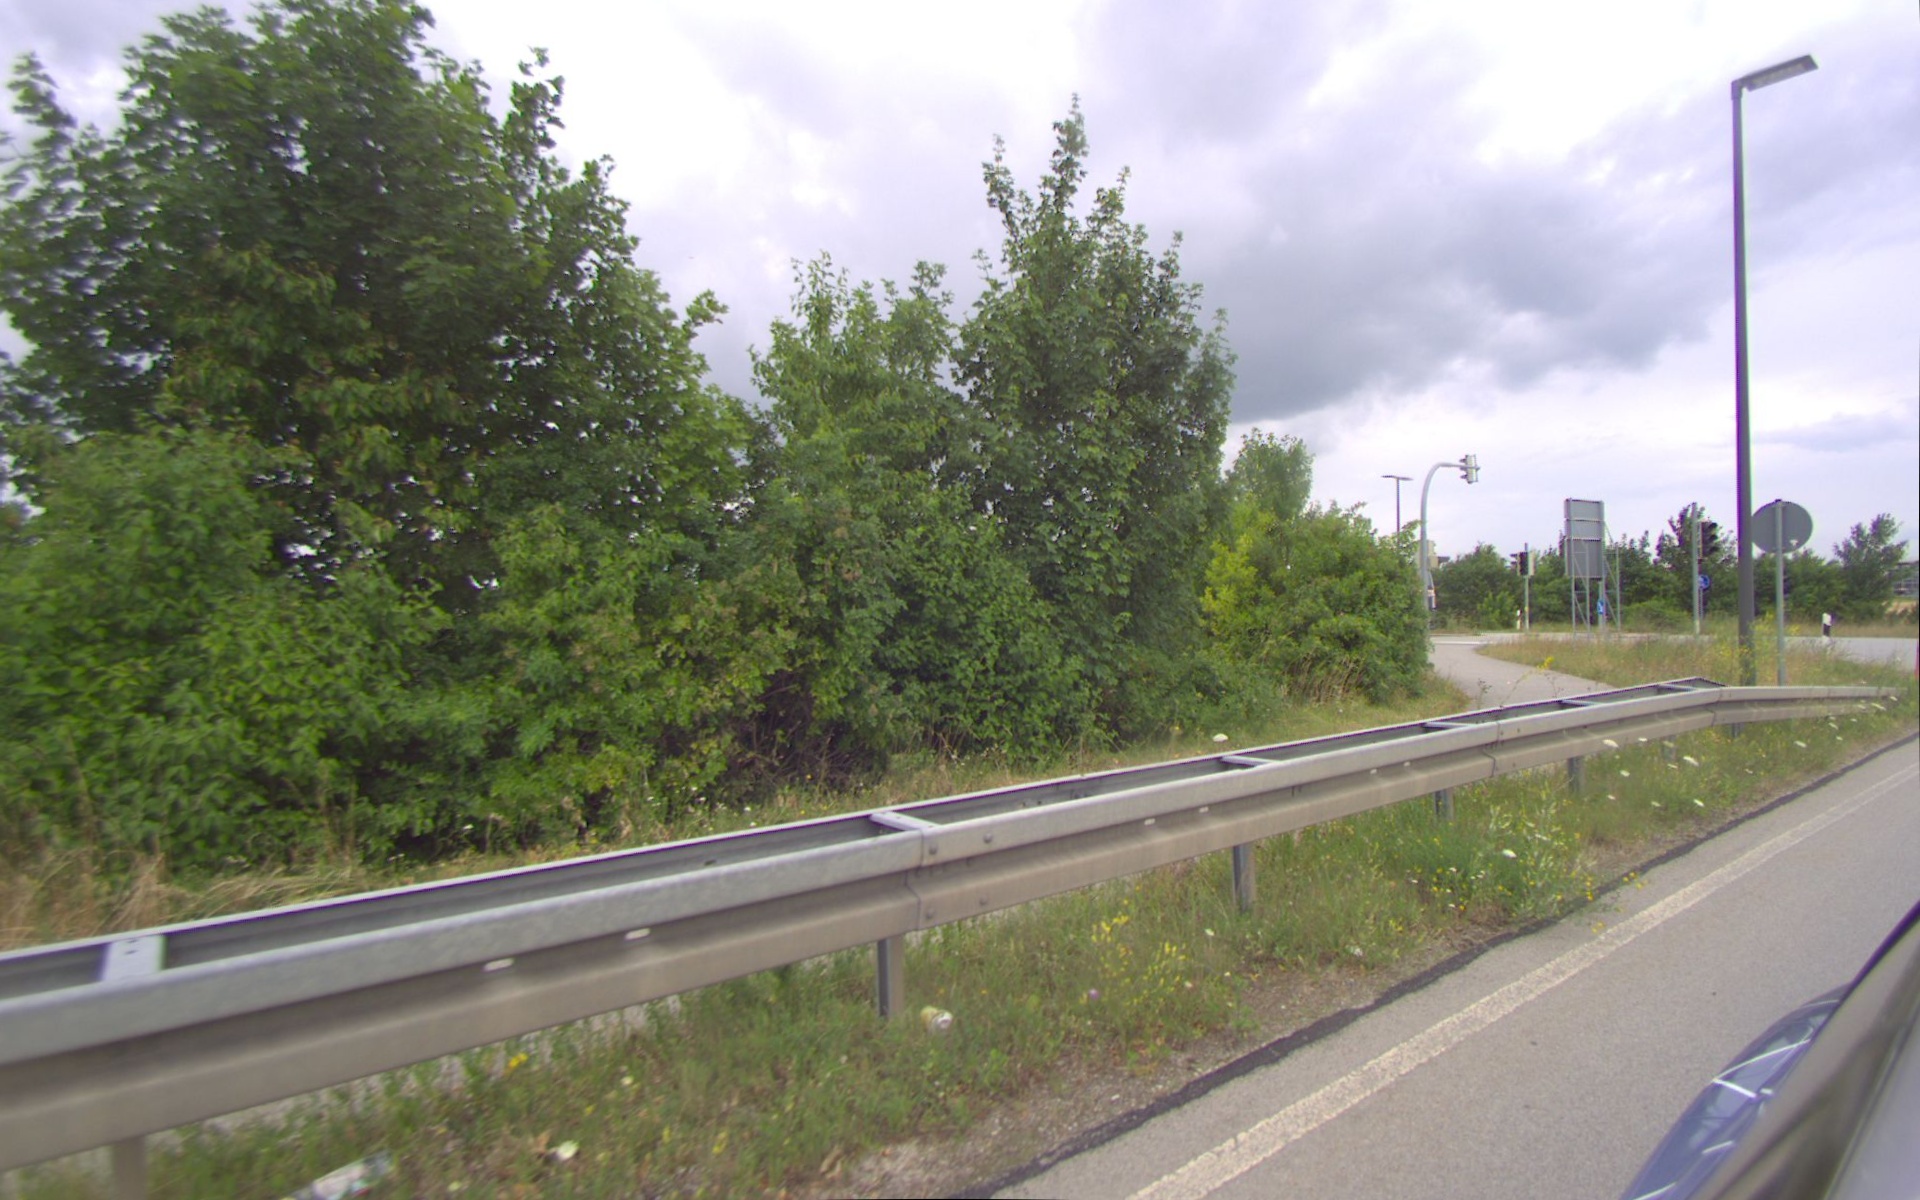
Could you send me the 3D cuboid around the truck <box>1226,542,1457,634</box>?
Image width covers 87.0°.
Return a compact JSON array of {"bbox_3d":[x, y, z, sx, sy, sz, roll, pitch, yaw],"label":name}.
[{"bbox_3d":[15.698,-0.397,42.334,2.831,3.451,8.630,-1,0,-43],"label":"truck"}]
